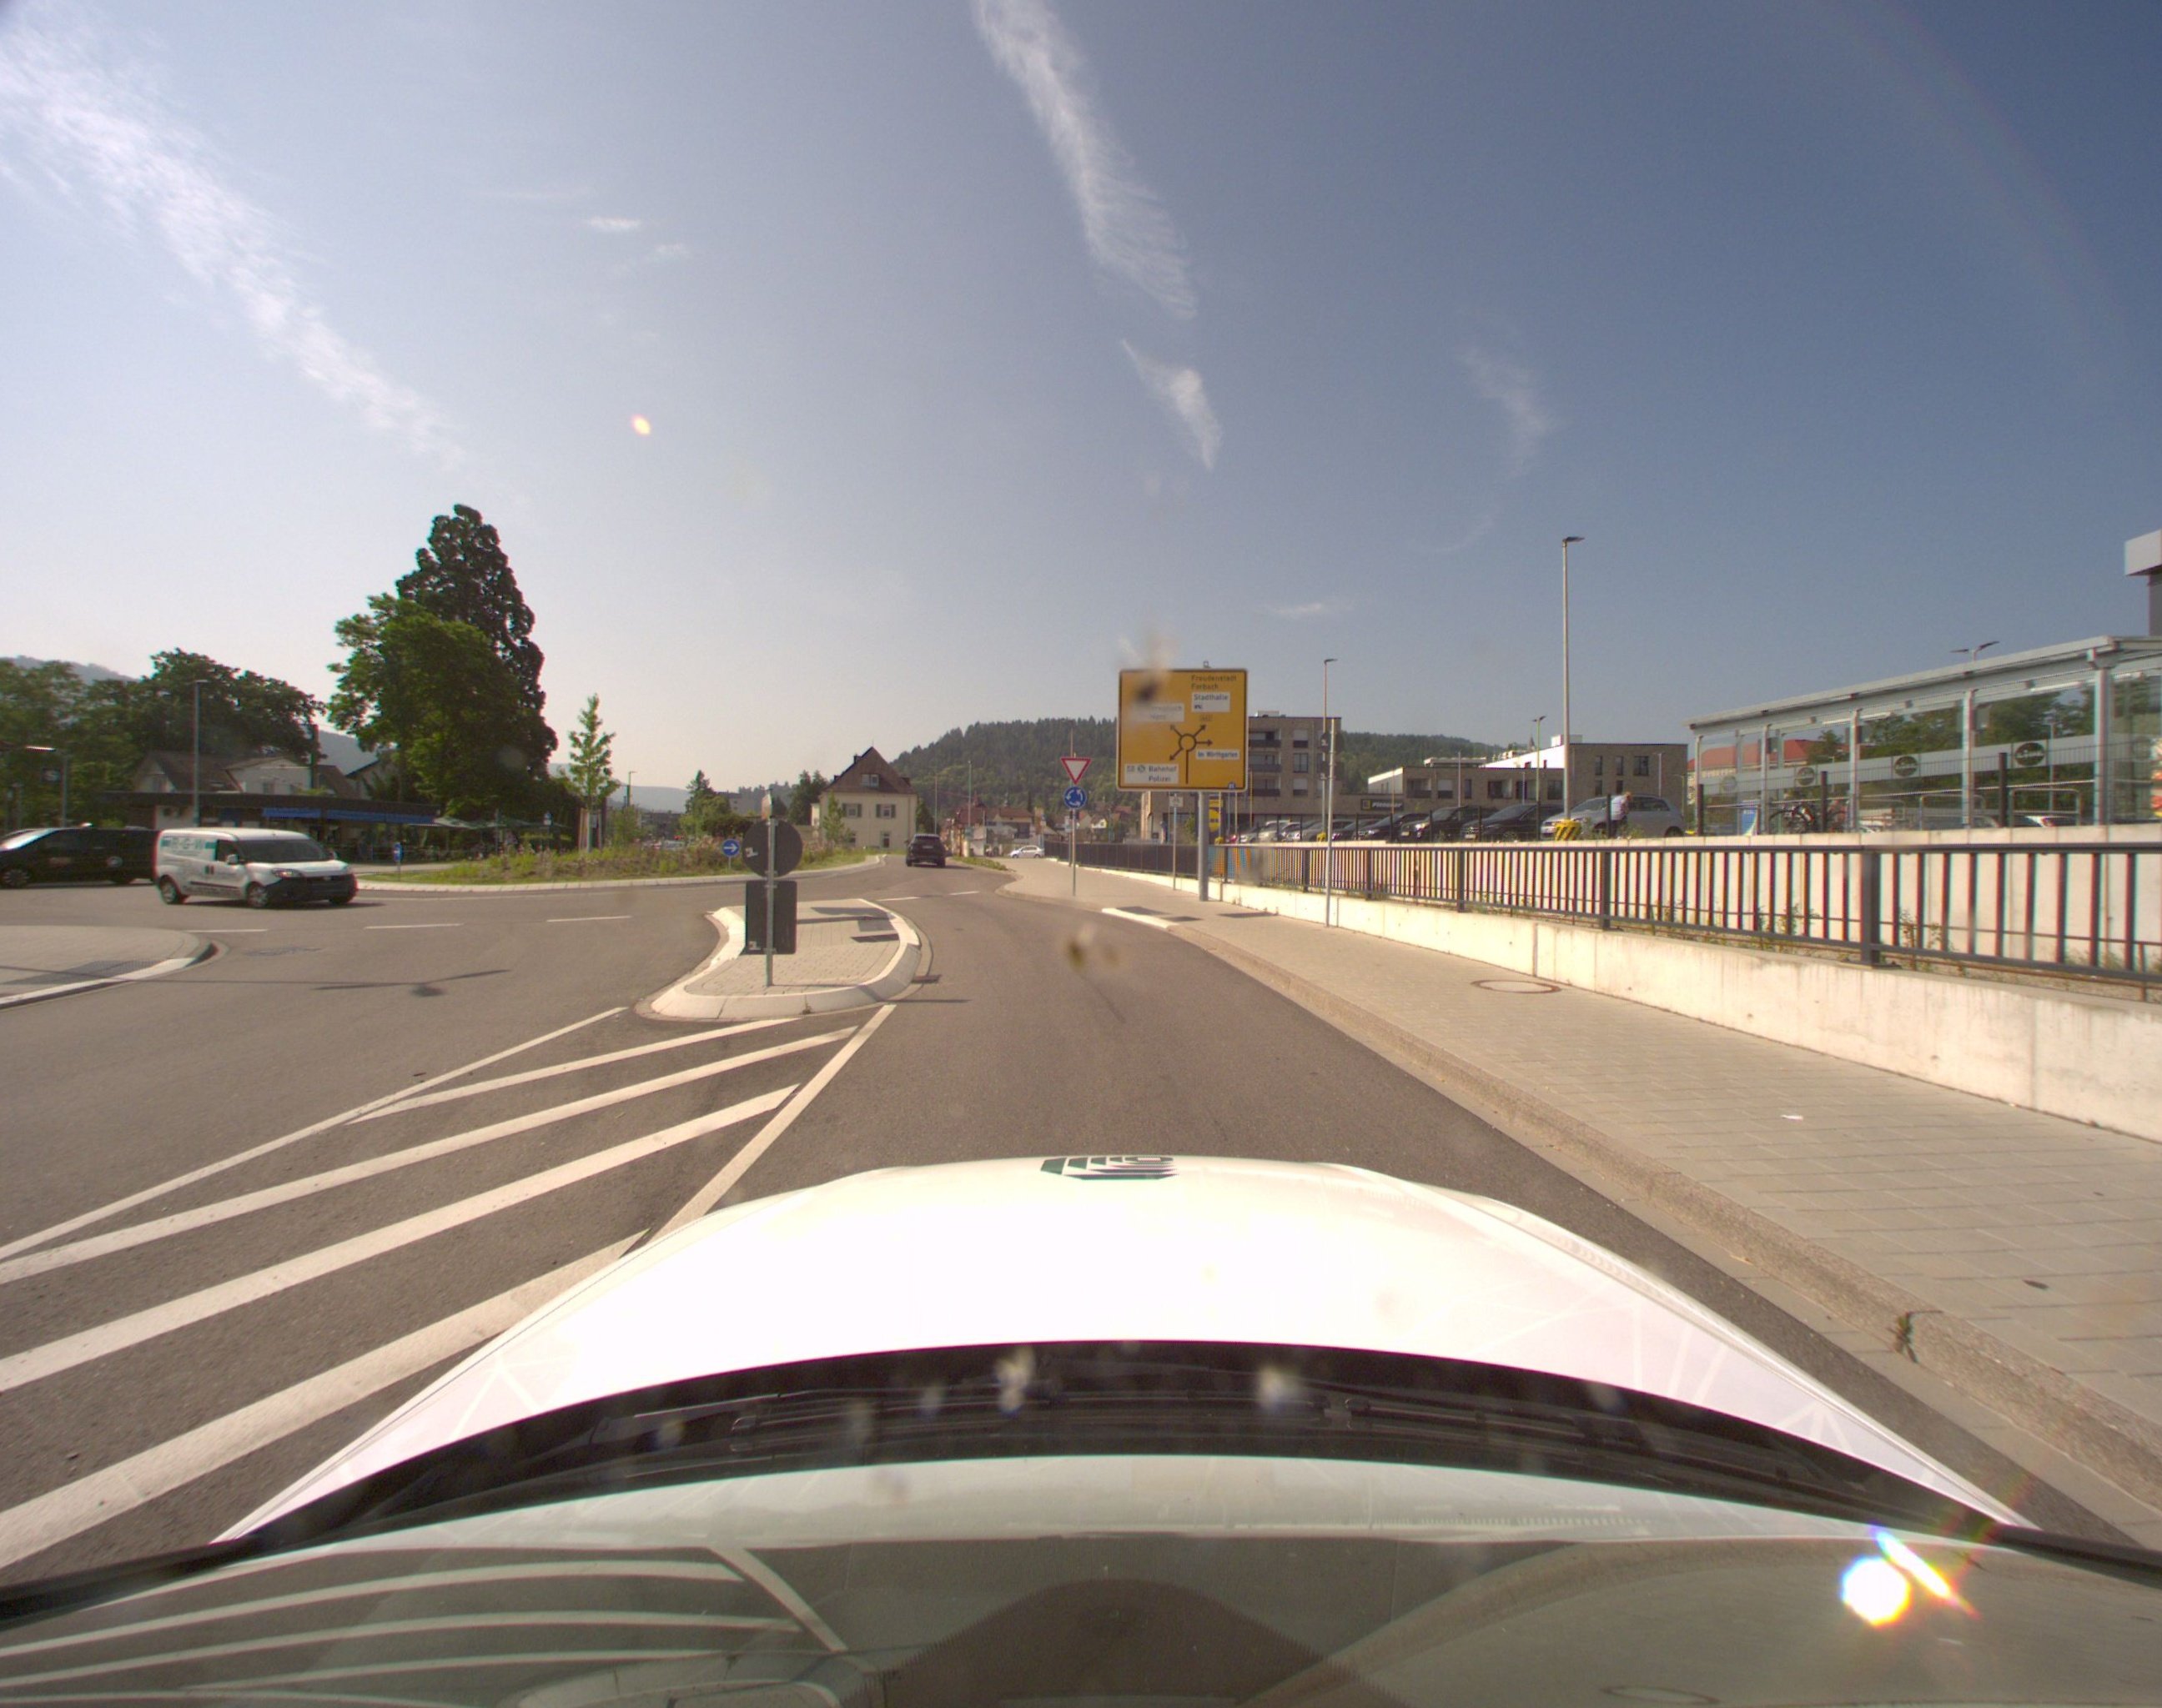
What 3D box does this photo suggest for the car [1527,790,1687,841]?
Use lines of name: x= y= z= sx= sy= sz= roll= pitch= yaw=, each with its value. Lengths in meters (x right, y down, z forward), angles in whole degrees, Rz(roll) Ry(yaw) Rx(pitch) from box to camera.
car: x=15.154 y=-1.082 z=23.538 sx=3.807 sy=1.364 sz=1.674 roll=0 pitch=0 yaw=-12

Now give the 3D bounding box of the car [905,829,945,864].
car: x=-7.940 y=-0.350 z=41.347 sx=1.883 sy=1.684 sz=3.983 roll=0 pitch=0 yaw=-13

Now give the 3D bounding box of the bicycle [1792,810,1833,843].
bicycle: x=20.594 y=-0.779 z=22.944 sx=0.534 sy=0.900 sz=0.675 roll=0 pitch=-1 yaw=-16

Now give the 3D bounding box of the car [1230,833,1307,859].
car: x=11.001 y=-0.463 z=47.903 sx=4.055 sy=1.487 sz=1.712 roll=0 pitch=0 yaw=-9

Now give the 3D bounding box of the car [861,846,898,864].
car: x=-22.872 y=0.132 z=92.536 sx=1.975 sy=2.014 sz=4.022 roll=0 pitch=0 yaw=24

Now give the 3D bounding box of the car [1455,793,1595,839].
car: x=14.595 y=-1.209 z=26.825 sx=4.064 sy=1.404 sz=1.480 roll=0 pitch=0 yaw=-12

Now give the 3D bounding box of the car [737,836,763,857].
car: x=-32.806 y=-0.794 z=80.746 sx=1.812 sy=2.013 sz=3.982 roll=0 pitch=1 yaw=-13

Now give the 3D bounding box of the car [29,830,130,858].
car: x=-50.370 y=-0.508 z=40.984 sx=3.567 sy=1.326 sz=1.418 roll=1 pitch=0 yaw=5

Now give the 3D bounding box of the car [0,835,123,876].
car: x=-39.904 y=0.087 z=31.434 sx=1.380 sy=1.450 sz=3.545 roll=1 pitch=-2 yaw=9

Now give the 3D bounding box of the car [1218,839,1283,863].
car: x=10.508 y=-0.215 z=50.503 sx=3.557 sy=1.430 sz=1.704 roll=0 pitch=0 yaw=-11

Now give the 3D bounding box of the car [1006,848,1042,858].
car: x=-5.607 y=-0.071 z=80.264 sx=3.240 sy=0.964 sz=1.357 roll=0 pitch=0 yaw=22

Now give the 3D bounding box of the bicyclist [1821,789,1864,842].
bicyclist: x=20.818 y=-1.038 z=22.269 sx=0.431 sy=1.423 sz=0.720 roll=0 pitch=-1 yaw=-16

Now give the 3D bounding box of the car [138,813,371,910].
car: x=-20.032 y=0.101 z=19.795 sx=4.557 sy=2.077 sz=1.819 roll=2 pitch=3 yaw=13

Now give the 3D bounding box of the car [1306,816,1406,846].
car: x=12.377 y=-1.026 z=36.741 sx=3.968 sy=1.245 sz=1.723 roll=0 pitch=1 yaw=-12

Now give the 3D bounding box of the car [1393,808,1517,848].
car: x=13.957 y=-0.949 z=30.468 sx=4.007 sy=1.404 sz=1.718 roll=0 pitch=0 yaw=-12

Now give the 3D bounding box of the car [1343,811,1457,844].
car: x=13.278 y=-1.080 z=33.980 sx=4.215 sy=1.245 sz=1.737 roll=0 pitch=1 yaw=-12

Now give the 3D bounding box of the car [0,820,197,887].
car: x=-31.863 y=-0.007 z=25.819 sx=1.827 sy=1.946 sz=4.898 roll=0 pitch=0 yaw=12

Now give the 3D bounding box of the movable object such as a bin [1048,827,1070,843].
movable object such as a bin: x=-2.552 y=-2.195 z=94.115 sx=2.437 sy=1.844 sz=1.427 roll=0 pitch=-1 yaw=-2

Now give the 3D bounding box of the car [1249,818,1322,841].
car: x=11.298 y=-1.364 z=45.161 sx=3.557 sy=1.199 sz=1.708 roll=0 pitch=1 yaw=-11

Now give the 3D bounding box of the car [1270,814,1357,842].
car: x=12.005 y=-1.339 z=42.082 sx=4.038 sy=1.342 sz=1.654 roll=0 pitch=0 yaw=-11

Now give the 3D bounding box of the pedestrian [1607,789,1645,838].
pedestrian: x=14.877 y=-1.091 z=22.245 sx=0.547 sy=1.312 sz=0.655 roll=0 pitch=-1 yaw=-9

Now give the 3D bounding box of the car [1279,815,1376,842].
car: x=11.925 y=-1.217 z=39.484 sx=4.281 sy=1.245 sz=1.658 roll=0 pitch=1 yaw=-12

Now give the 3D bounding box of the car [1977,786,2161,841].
car: x=33.091 y=-1.304 z=27.385 sx=1.617 sy=1.652 sz=3.696 roll=0 pitch=0 yaw=-9

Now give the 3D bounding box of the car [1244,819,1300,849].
car: x=14.194 y=-1.460 z=60.800 sx=3.962 sy=2.136 sz=2.006 roll=0 pitch=0 yaw=10

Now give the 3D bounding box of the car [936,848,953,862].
car: x=-19.150 y=0.129 z=114.350 sx=1.996 sy=2.014 sz=3.980 roll=0 pitch=0 yaw=-14
